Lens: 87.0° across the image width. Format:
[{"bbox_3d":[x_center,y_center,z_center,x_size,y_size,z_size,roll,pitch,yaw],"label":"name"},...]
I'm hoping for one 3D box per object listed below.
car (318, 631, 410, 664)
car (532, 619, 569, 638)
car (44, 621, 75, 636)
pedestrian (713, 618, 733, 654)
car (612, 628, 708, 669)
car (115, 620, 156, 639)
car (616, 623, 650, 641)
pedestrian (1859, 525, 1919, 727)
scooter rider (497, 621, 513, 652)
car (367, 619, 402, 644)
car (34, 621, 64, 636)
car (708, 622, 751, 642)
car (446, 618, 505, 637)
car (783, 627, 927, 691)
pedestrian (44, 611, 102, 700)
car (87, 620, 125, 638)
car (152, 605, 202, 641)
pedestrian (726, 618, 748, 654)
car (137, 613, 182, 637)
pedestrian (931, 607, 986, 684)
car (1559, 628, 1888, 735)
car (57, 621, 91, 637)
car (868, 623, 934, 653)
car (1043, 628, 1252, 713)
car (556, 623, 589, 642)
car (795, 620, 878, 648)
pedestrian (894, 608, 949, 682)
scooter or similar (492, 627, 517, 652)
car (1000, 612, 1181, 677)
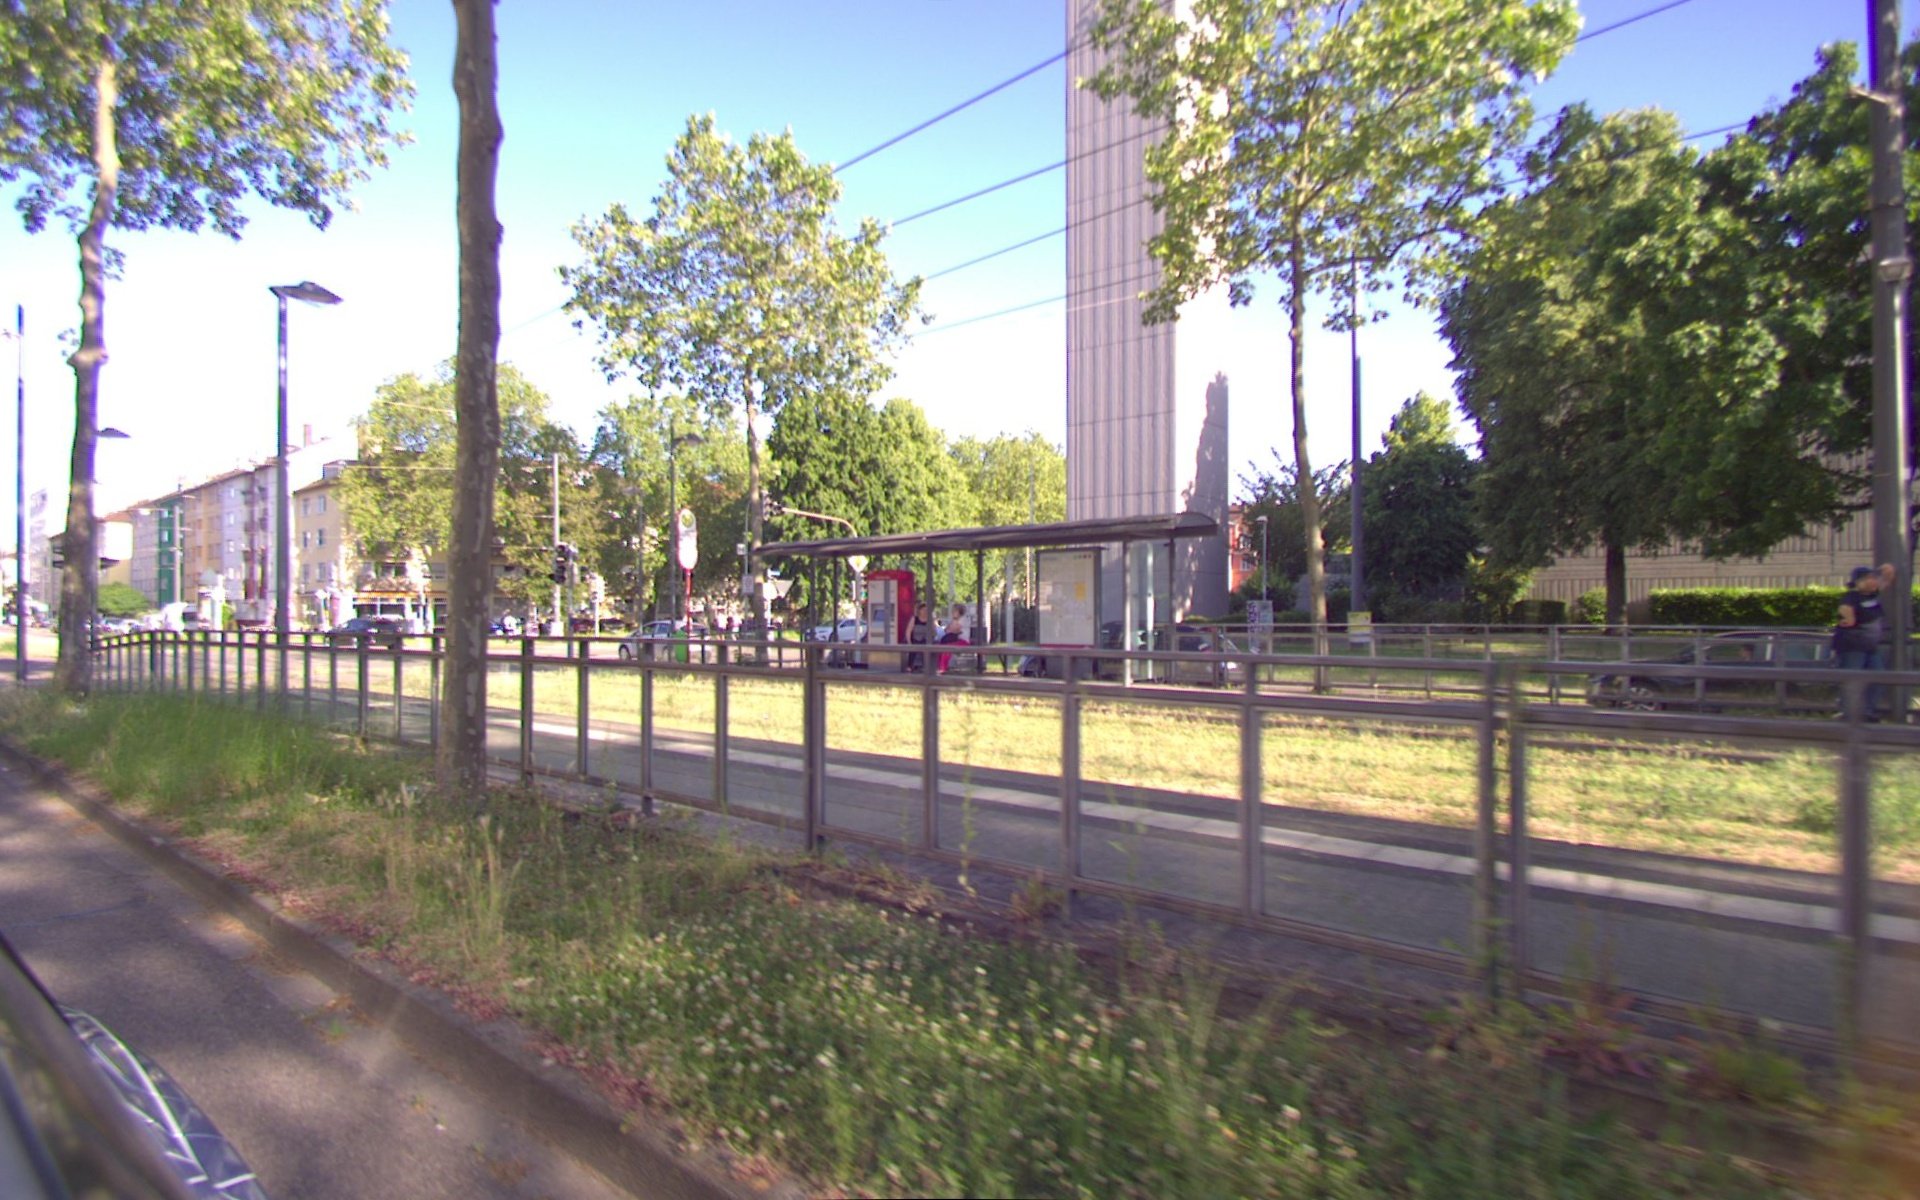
[{"bbox_3d":[-28.325,2.224,48.068,4.514,1.453,1.935,-1,-2,32],"label":"car"},{"bbox_3d":[-34.725,2.412,85.794,1.968,1.564,3.943,1,-1,-38],"label":"car"},{"bbox_3d":[-106.011,3.358,119.141,5.400,1.720,2.117,-1,-1,41],"label":"car"},{"bbox_3d":[-11.053,1.672,47.210,0.746,1.694,0.589,-1,-2,35],"label":"pedestrian"},{"bbox_3d":[-10.309,1.621,34.711,3.409,1.335,1.313,-1,-2,35],"label":"car"},{"bbox_3d":[-76.499,2.710,93.896,5.155,1.720,2.117,-1,-1,41],"label":"car"},{"bbox_3d":[-28.985,2.819,89.747,1.650,1.619,3.943,1,-2,-38],"label":"car"},{"bbox_3d":[9.130,0.247,9.763,0.636,1.881,0.712,-2,-1,42],"label":"pedestrian"},{"bbox_3d":[-24.967,1.984,55.476,0.572,1.708,0.589,-1,-2,35],"label":"scooter rider"},{"bbox_3d":[-45.517,2.474,79.974,1.882,1.896,4.008,1,-1,-38],"label":"car"},{"bbox_3d":[-111.366,3.466,123.702,5.400,1.720,2.117,-1,-1,41],"label":"car"},{"bbox_3d":[-18.691,2.560,81.950,1.968,1.564,3.943,1,-1,-38],"label":"car"},{"bbox_3d":[-36.624,2.075,76.550,3.930,1.448,1.723,1,-1,-26],"label":"car"},{"bbox_3d":[-2.211,1.171,20.914,2.964,1.213,1.311,-1,-2,42],"label":"car"},{"bbox_3d":[-15.783,0.977,18.015,0.537,1.540,0.653,-1,-1,34],"label":"pedestrian"},{"bbox_3d":[-84.458,2.880,100.089,5.443,1.720,2.117,-1,-1,41],"label":"car"},{"bbox_3d":[-62.803,1.836,81.156,5.226,2.846,2.202,-1,-1,41],"label":"car"},{"bbox_3d":[-10.693,1.727,48.571,0.878,1.736,0.589,-1,-2,35],"label":"pedestrian"},{"bbox_3d":[-68.189,2.113,86.161,5.155,2.050,2.117,-1,-1,41],"label":"car"},{"bbox_3d":[-0.026,0.815,18.435,0.734,1.352,0.686,-1,-2,43],"label":"pedestrian"},{"bbox_3d":[11.778,1.179,15.810,3.929,1.455,1.577,-2,-2,42],"label":"car"},{"bbox_3d":[-96.383,3.140,110.102,5.443,1.720,2.117,-1,-1,41],"label":"car"},{"bbox_3d":[-3.560,2.301,61.818,1.786,1.728,3.945,-2,-2,41],"label":"car"},{"bbox_3d":[3.457,1.255,18.976,3.533,1.438,1.589,-1,-2,39],"label":"car"},{"bbox_3d":[-29.319,2.443,76.497,1.616,1.318,4.012,1,-1,-31],"label":"car"},{"bbox_3d":[-6.832,1.865,56.416,1.999,1.498,4.467,-2,-2,40],"label":"car"},{"bbox_3d":[-0.719,0.829,18.952,0.722,1.352,0.775,1,-2,-35],"label":"pedestrian"},{"bbox_3d":[-24.962,2.168,55.472,1.537,1.319,0.591,-1,-2,36],"label":"scooter or similar"},{"bbox_3d":[2.941,0.978,23.325,3.999,1.364,1.534,-1,-2,42],"label":"car"}]
